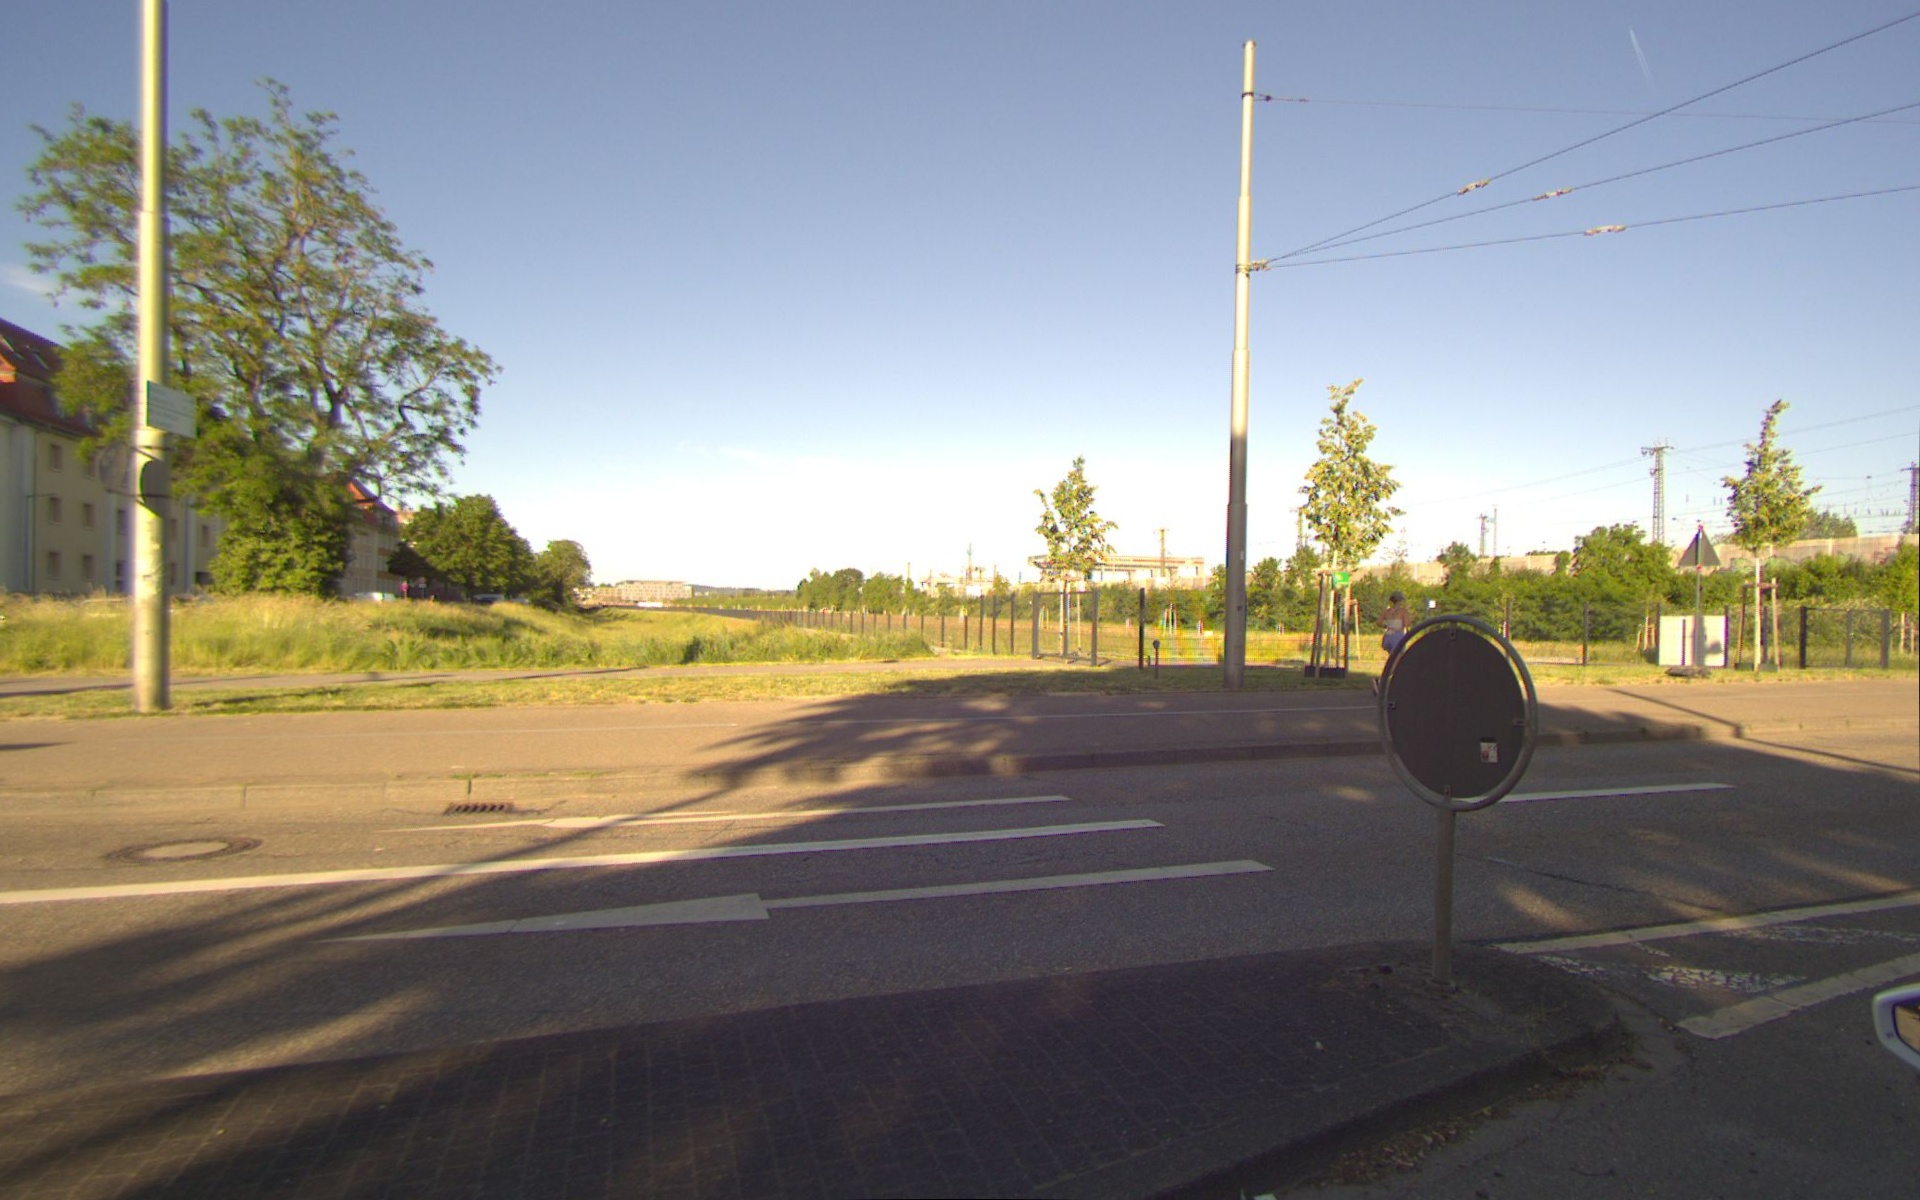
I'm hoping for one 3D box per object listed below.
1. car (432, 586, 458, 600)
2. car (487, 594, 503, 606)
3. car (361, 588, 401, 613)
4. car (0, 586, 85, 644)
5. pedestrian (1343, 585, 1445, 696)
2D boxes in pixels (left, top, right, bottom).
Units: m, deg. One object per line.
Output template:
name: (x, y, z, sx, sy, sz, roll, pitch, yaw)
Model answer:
car: (-58.946, -0.757, 114.982, 1.911, 1.513, 4.192, 1, 0, -17)
car: (-63.076, 0.003, 136.156, 1.675, 1.550, 3.883, -1, 0, -21)
car: (-38.929, 0.042, 67.606, 1.675, 1.550, 3.883, -1, 0, -21)
car: (-26.986, 0.417, 28.716, 1.675, 1.550, 3.883, -1, 0, -21)
pedestrian: (6.779, 0.616, 15.716, 1.161, 1.651, 0.832, 1, 2, -16)
